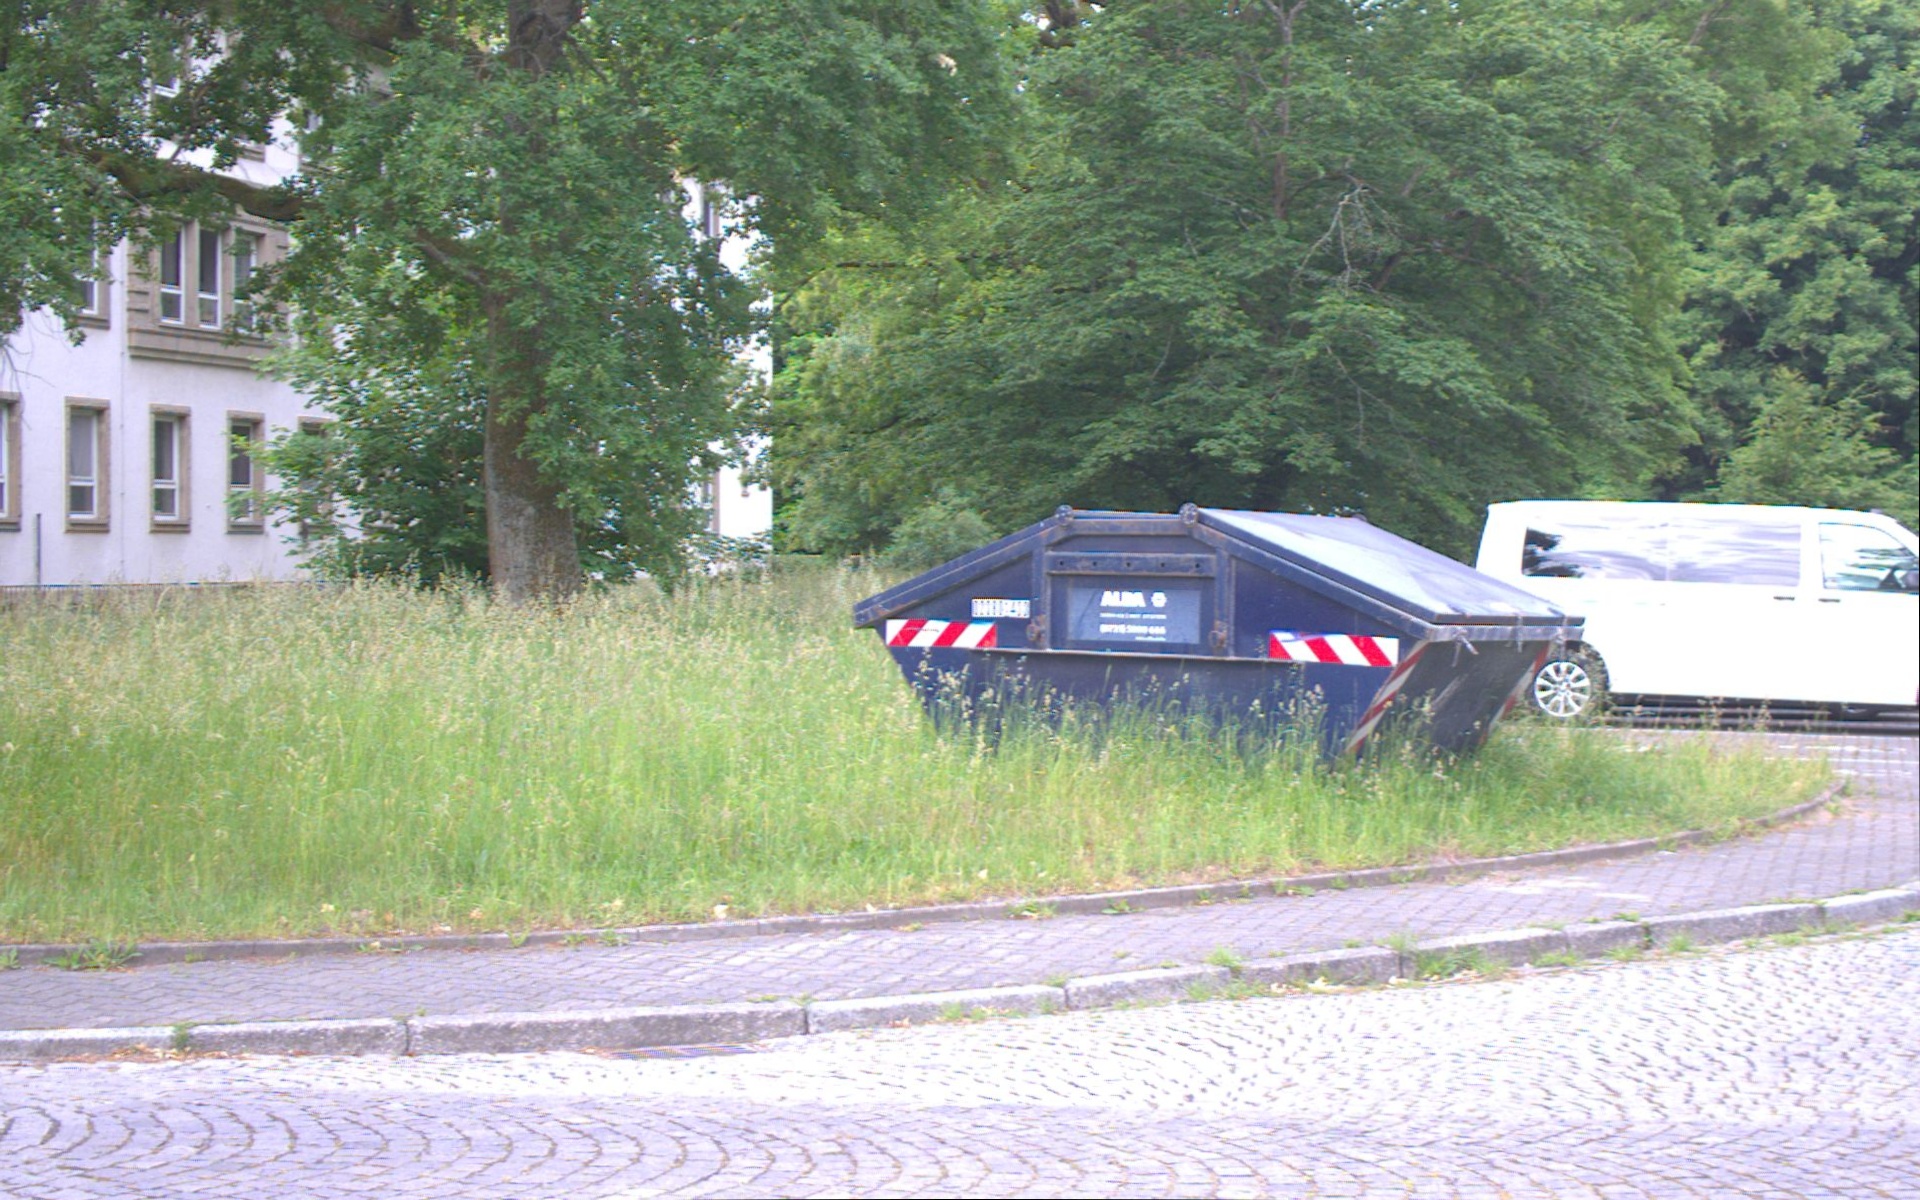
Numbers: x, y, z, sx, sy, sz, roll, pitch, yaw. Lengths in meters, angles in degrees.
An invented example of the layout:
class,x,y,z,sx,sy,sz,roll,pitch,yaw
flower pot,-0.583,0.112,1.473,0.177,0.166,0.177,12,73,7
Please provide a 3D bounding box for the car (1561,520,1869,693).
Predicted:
class,x,y,z,sx,sy,sz,roll,pitch,yaw
car,8.298,0.055,37.738,3.241,1.837,1.603,0,1,15

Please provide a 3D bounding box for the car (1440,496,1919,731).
class,x,y,z,sx,sy,sz,roll,pitch,yaw
car,6.997,0.096,30.389,5.262,1.990,1.967,0,1,15

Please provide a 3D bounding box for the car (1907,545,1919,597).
class,x,y,z,sx,sy,sz,roll,pitch,yaw
car,25.792,-0.779,90.236,1.579,1.334,3.951,0,1,12
